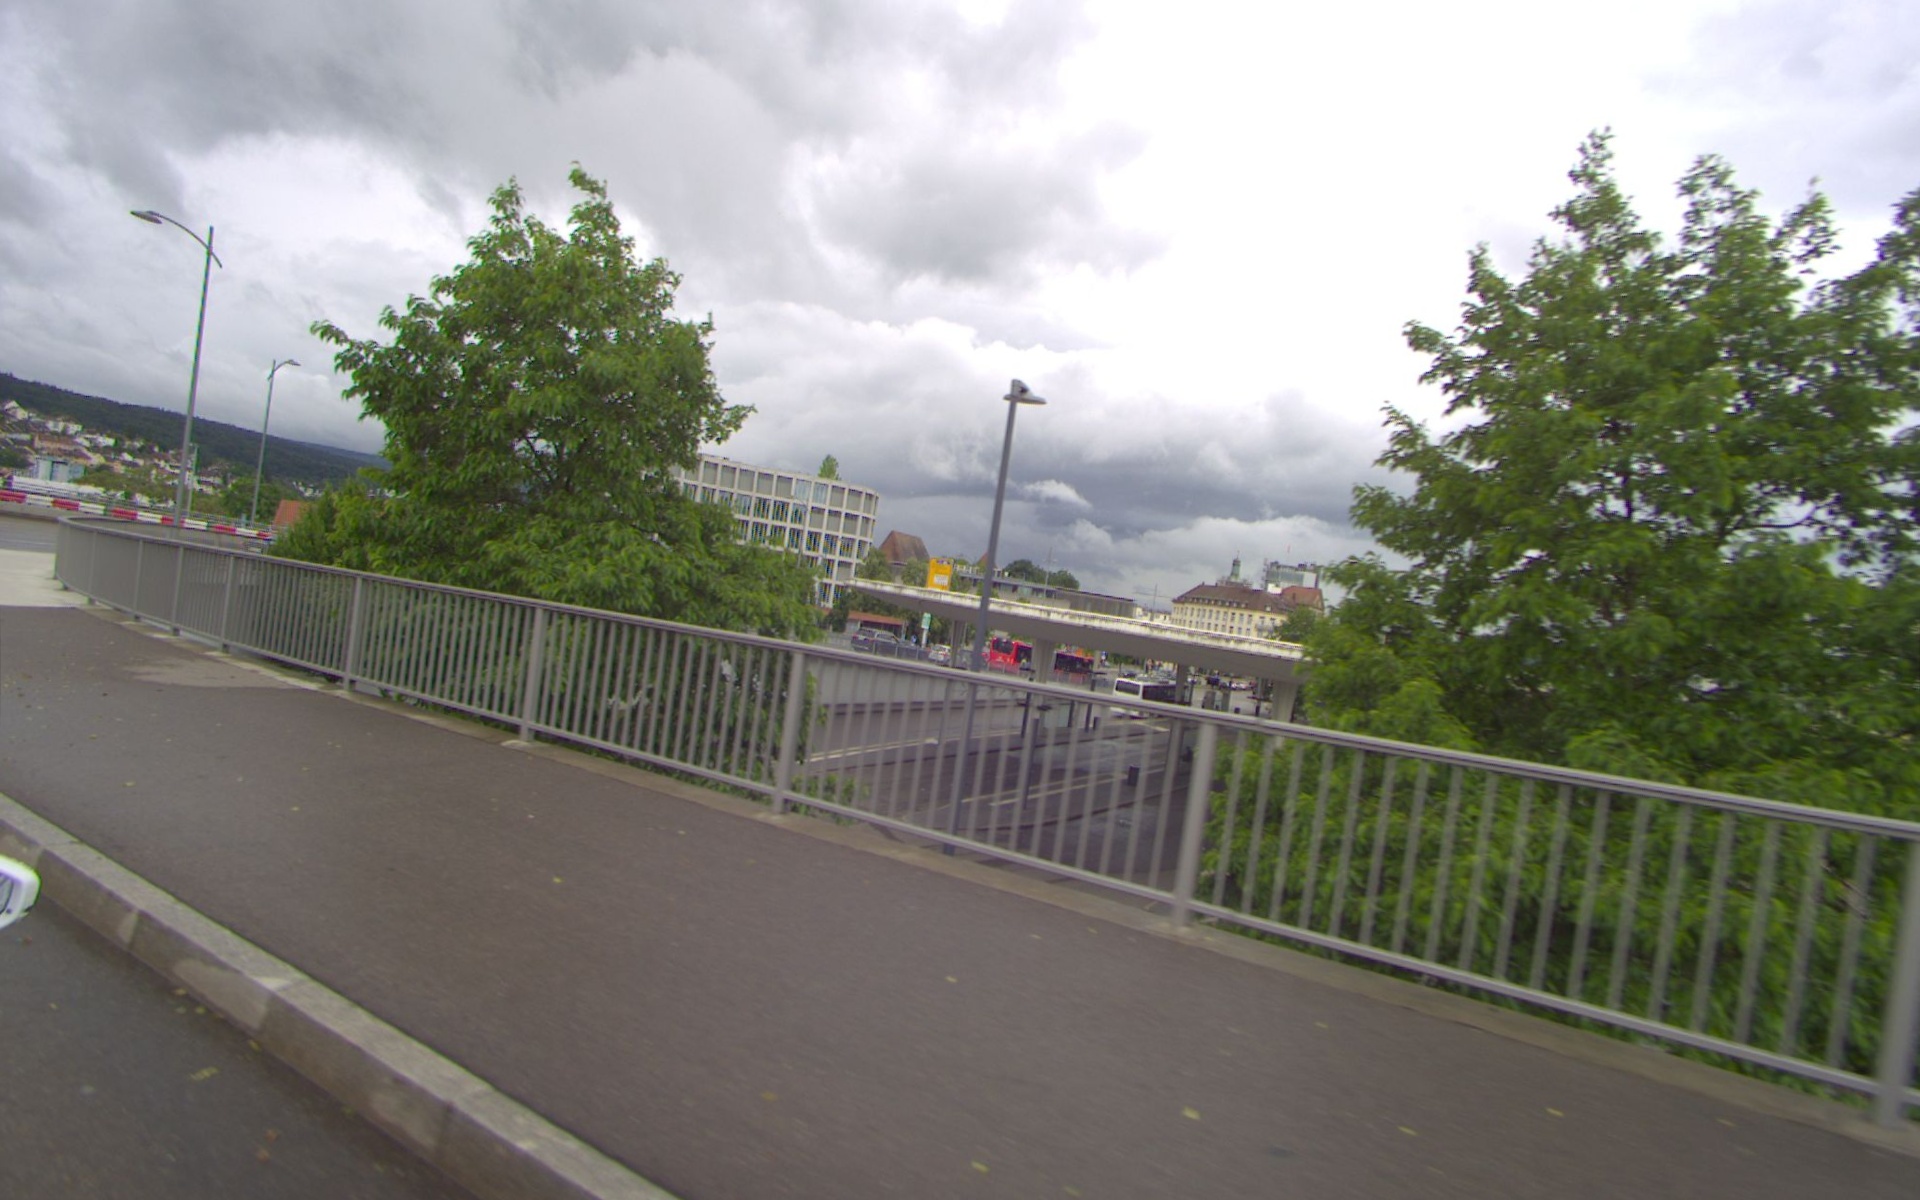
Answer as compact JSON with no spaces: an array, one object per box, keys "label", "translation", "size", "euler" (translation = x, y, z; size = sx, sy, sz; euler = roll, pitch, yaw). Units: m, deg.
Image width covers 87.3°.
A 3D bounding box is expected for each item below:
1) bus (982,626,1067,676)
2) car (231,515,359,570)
[{"label":"bus","translation":[5.993,4.733,90.866],"size":[2.789,3.224,10.303],"euler":[10,-2,31]},{"label":"car","translation":[-24.125,-2.051,36.665],"size":[1.679,1.436,3.729],"euler":[9,-1,9]}]
